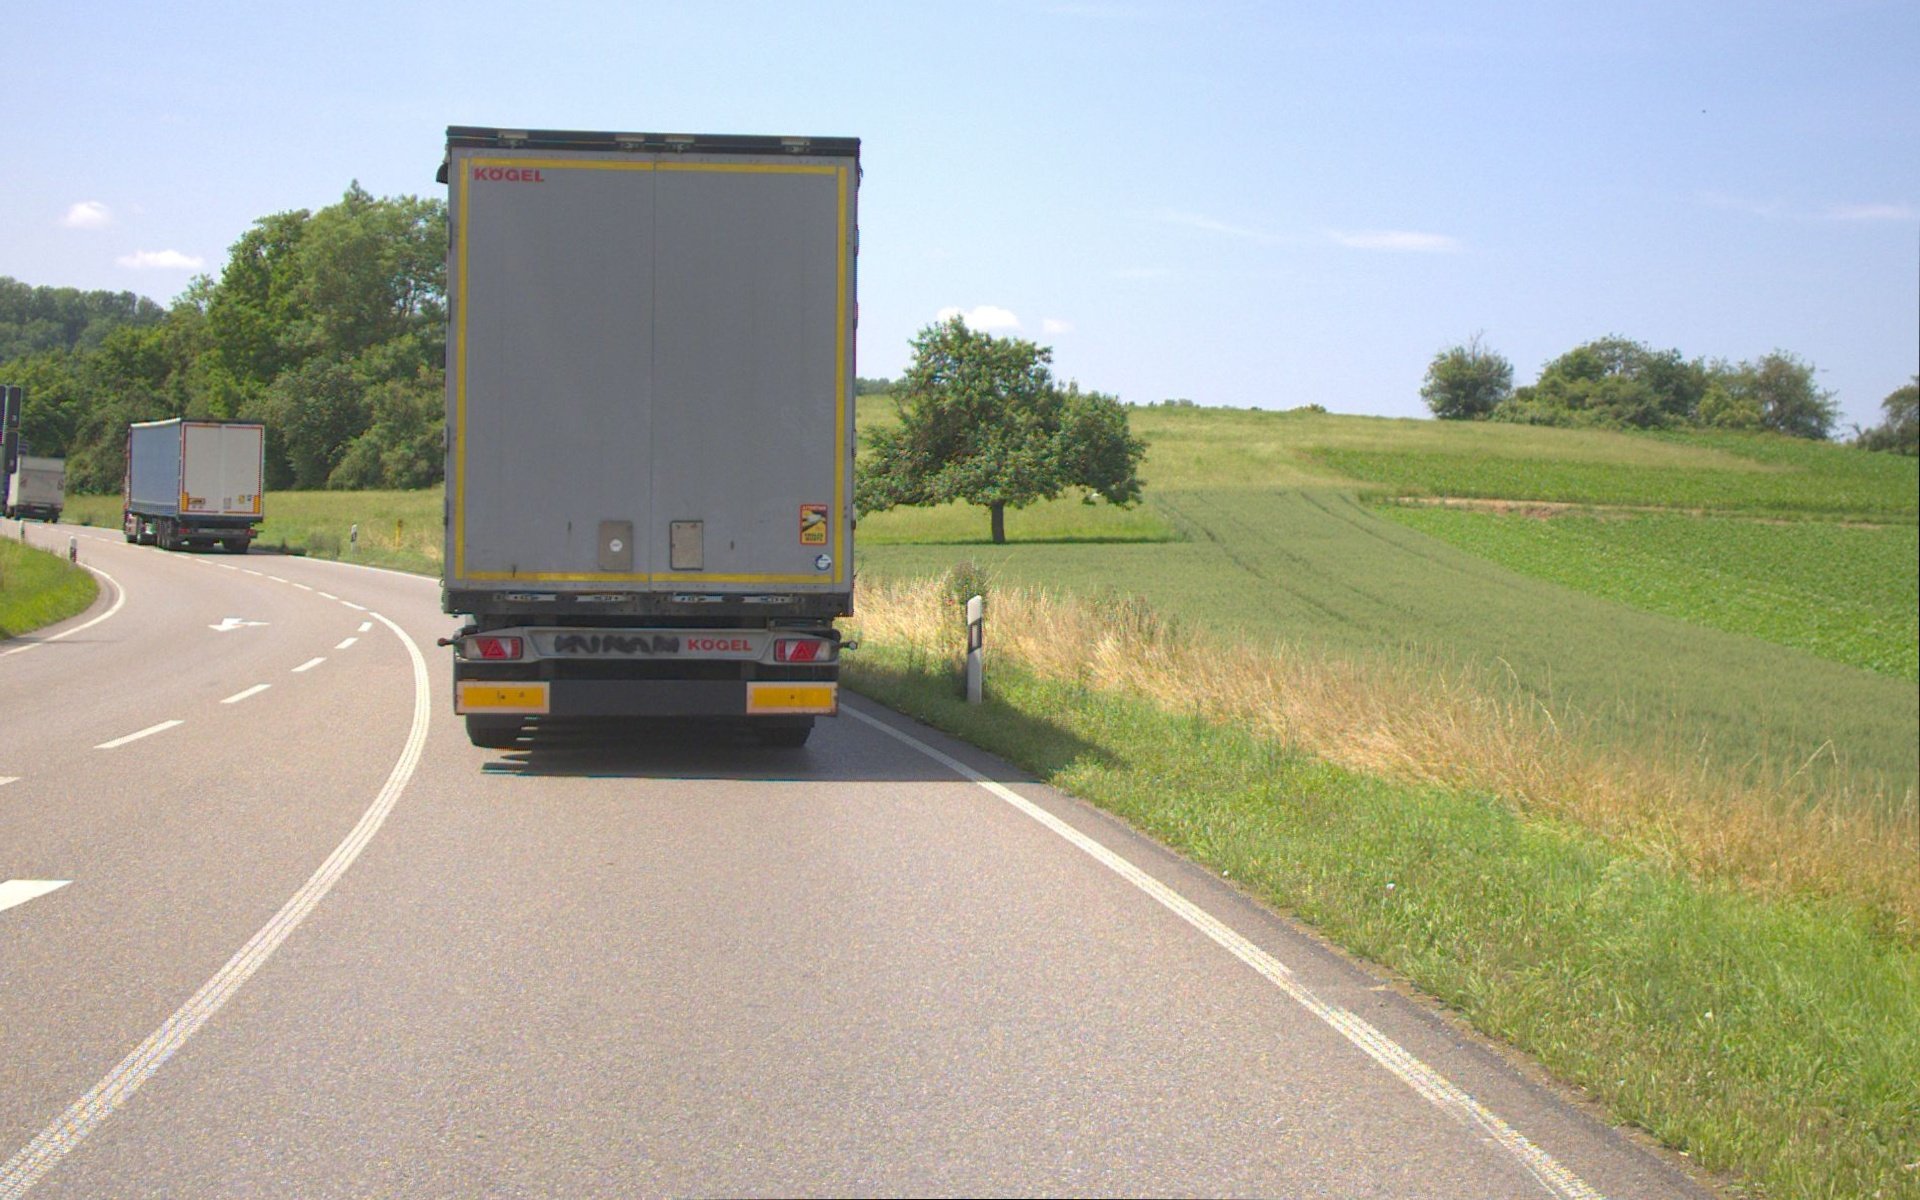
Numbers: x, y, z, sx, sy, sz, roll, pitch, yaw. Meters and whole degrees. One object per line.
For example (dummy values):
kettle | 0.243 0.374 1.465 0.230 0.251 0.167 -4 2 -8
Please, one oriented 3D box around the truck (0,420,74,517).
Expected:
truck | -45.391 -6.272 166.285 3.636 4.115 13.101 3 -1 -19

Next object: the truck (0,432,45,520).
truck | -51.422 -6.527 182.397 3.528 4.226 13.409 3 -1 -23

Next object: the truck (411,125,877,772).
truck | -2.535 -1.022 25.913 2.807 3.932 9.593 1 1 -7

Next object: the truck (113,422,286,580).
truck | -24.662 -3.314 110.626 2.960 4.568 16.322 2 2 -21
